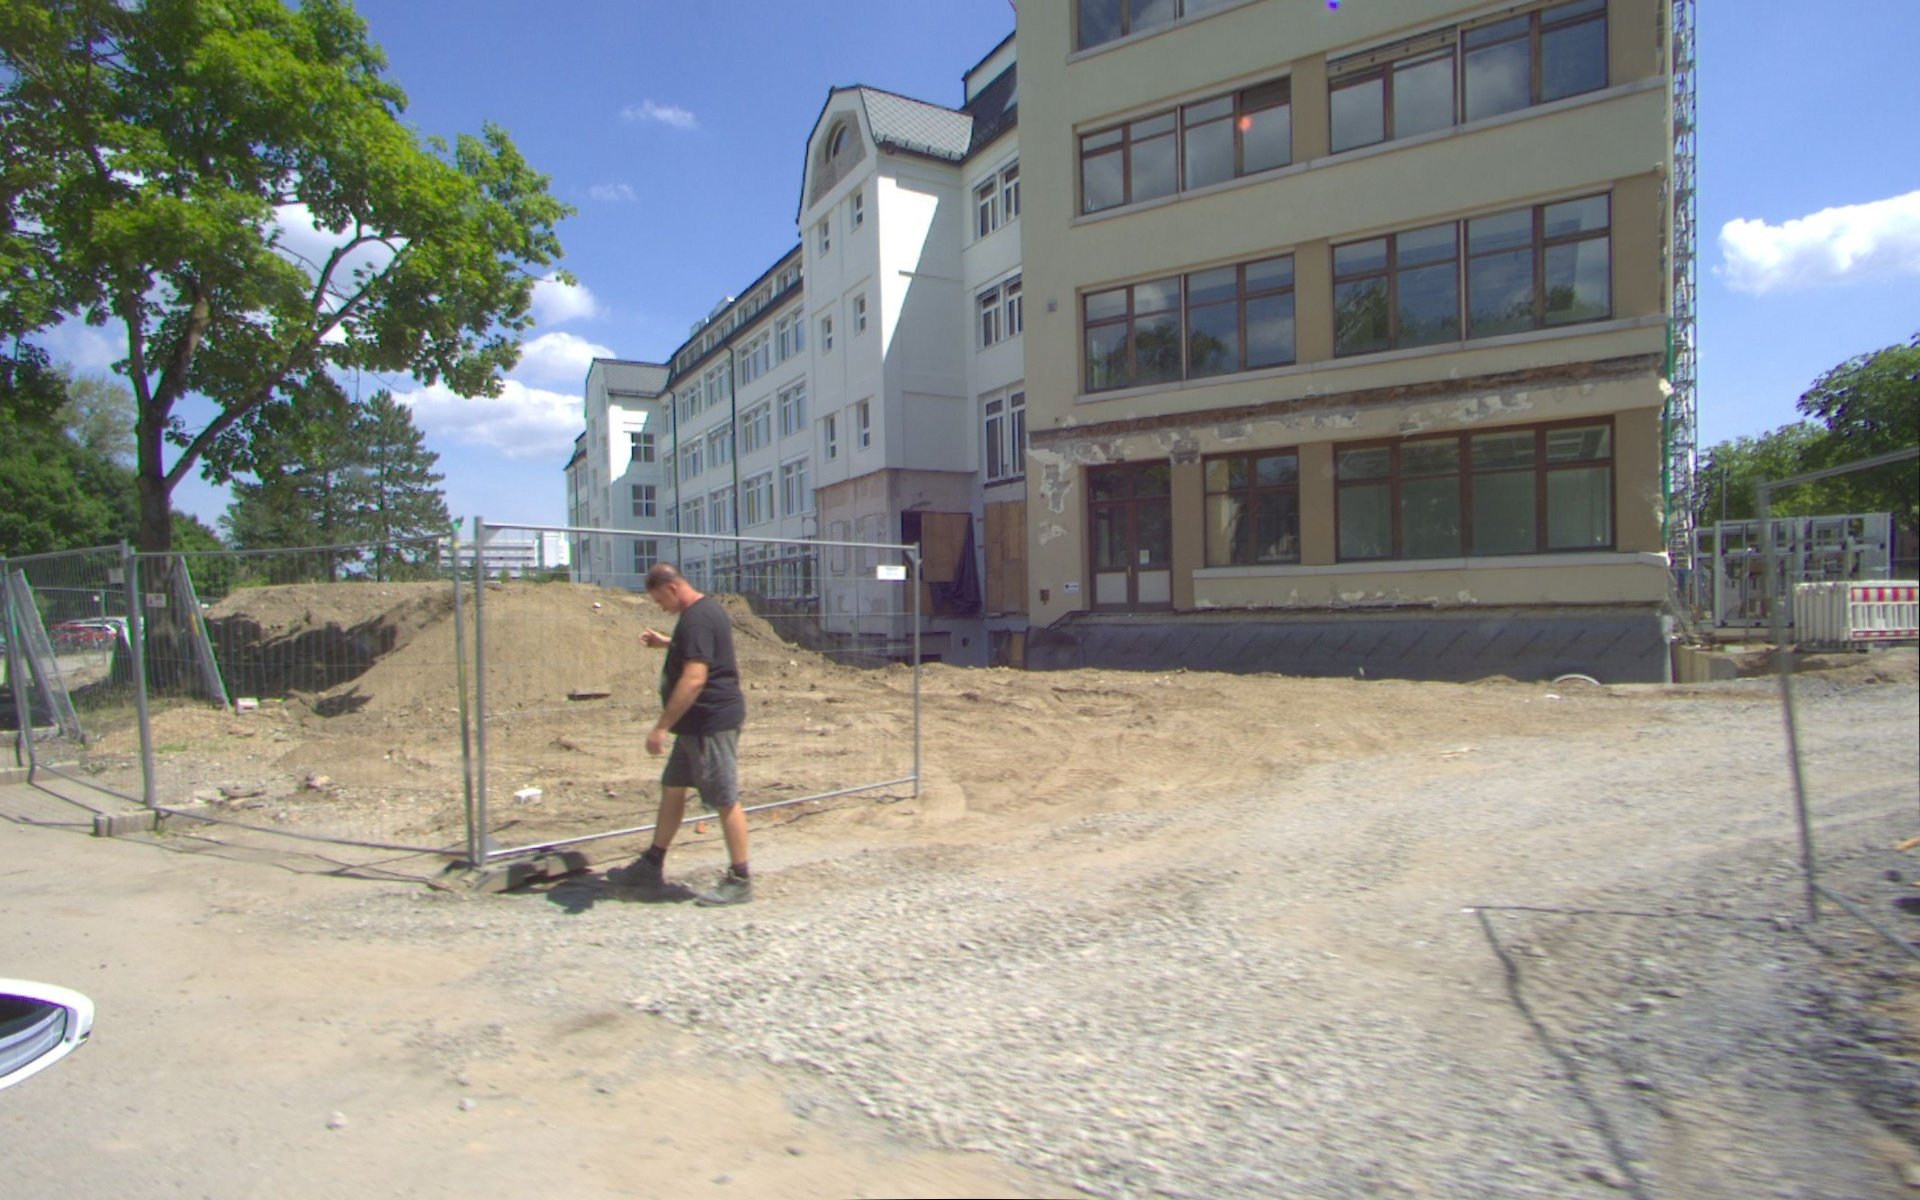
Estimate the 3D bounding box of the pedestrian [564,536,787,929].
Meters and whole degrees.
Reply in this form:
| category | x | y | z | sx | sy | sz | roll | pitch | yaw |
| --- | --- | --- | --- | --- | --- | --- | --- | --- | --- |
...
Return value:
| category | x | y | z | sx | sy | sz | roll | pitch | yaw |
| --- | --- | --- | --- | --- | --- | --- | --- | --- | --- |
| pedestrian | -1.524 | 0.623 | 5.309 | 0.953 | 1.844 | 0.866 | -1 | 1 | -28 |

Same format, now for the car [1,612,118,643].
| category | x | y | z | sx | sy | sz | roll | pitch | yaw |
| --- | --- | --- | --- | --- | --- | --- | --- | --- | --- |
| car | -49.048 | 1.472 | 54.661 | 4.458 | 1.619 | 1.715 | -1 | 0 | -32 |

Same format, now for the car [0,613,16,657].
| category | x | y | z | sx | sy | sz | roll | pitch | yaw |
| --- | --- | --- | --- | --- | --- | --- | --- | --- | --- |
| car | -38.154 | 1.325 | 37.010 | 4.458 | 1.619 | 1.715 | -1 | 1 | -32 |

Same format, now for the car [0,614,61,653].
| category | x | y | z | sx | sy | sz | roll | pitch | yaw |
| --- | --- | --- | --- | --- | --- | --- | --- | --- | --- |
| car | -40.970 | 1.429 | 42.043 | 4.457 | 1.619 | 1.926 | -1 | 0 | -32 |

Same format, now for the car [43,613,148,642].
| category | x | y | z | sx | sy | sz | roll | pitch | yaw |
| --- | --- | --- | --- | --- | --- | --- | --- | --- | --- |
| car | -51.198 | 1.619 | 59.396 | 4.458 | 1.568 | 1.715 | -1 | 1 | -32 |

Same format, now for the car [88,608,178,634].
| category | x | y | z | sx | sy | sz | roll | pitch | yaw |
| --- | --- | --- | --- | --- | --- | --- | --- | --- | --- |
| car | -55.922 | 1.404 | 67.809 | 4.458 | 1.619 | 1.715 | -1 | 0 | -32 |
